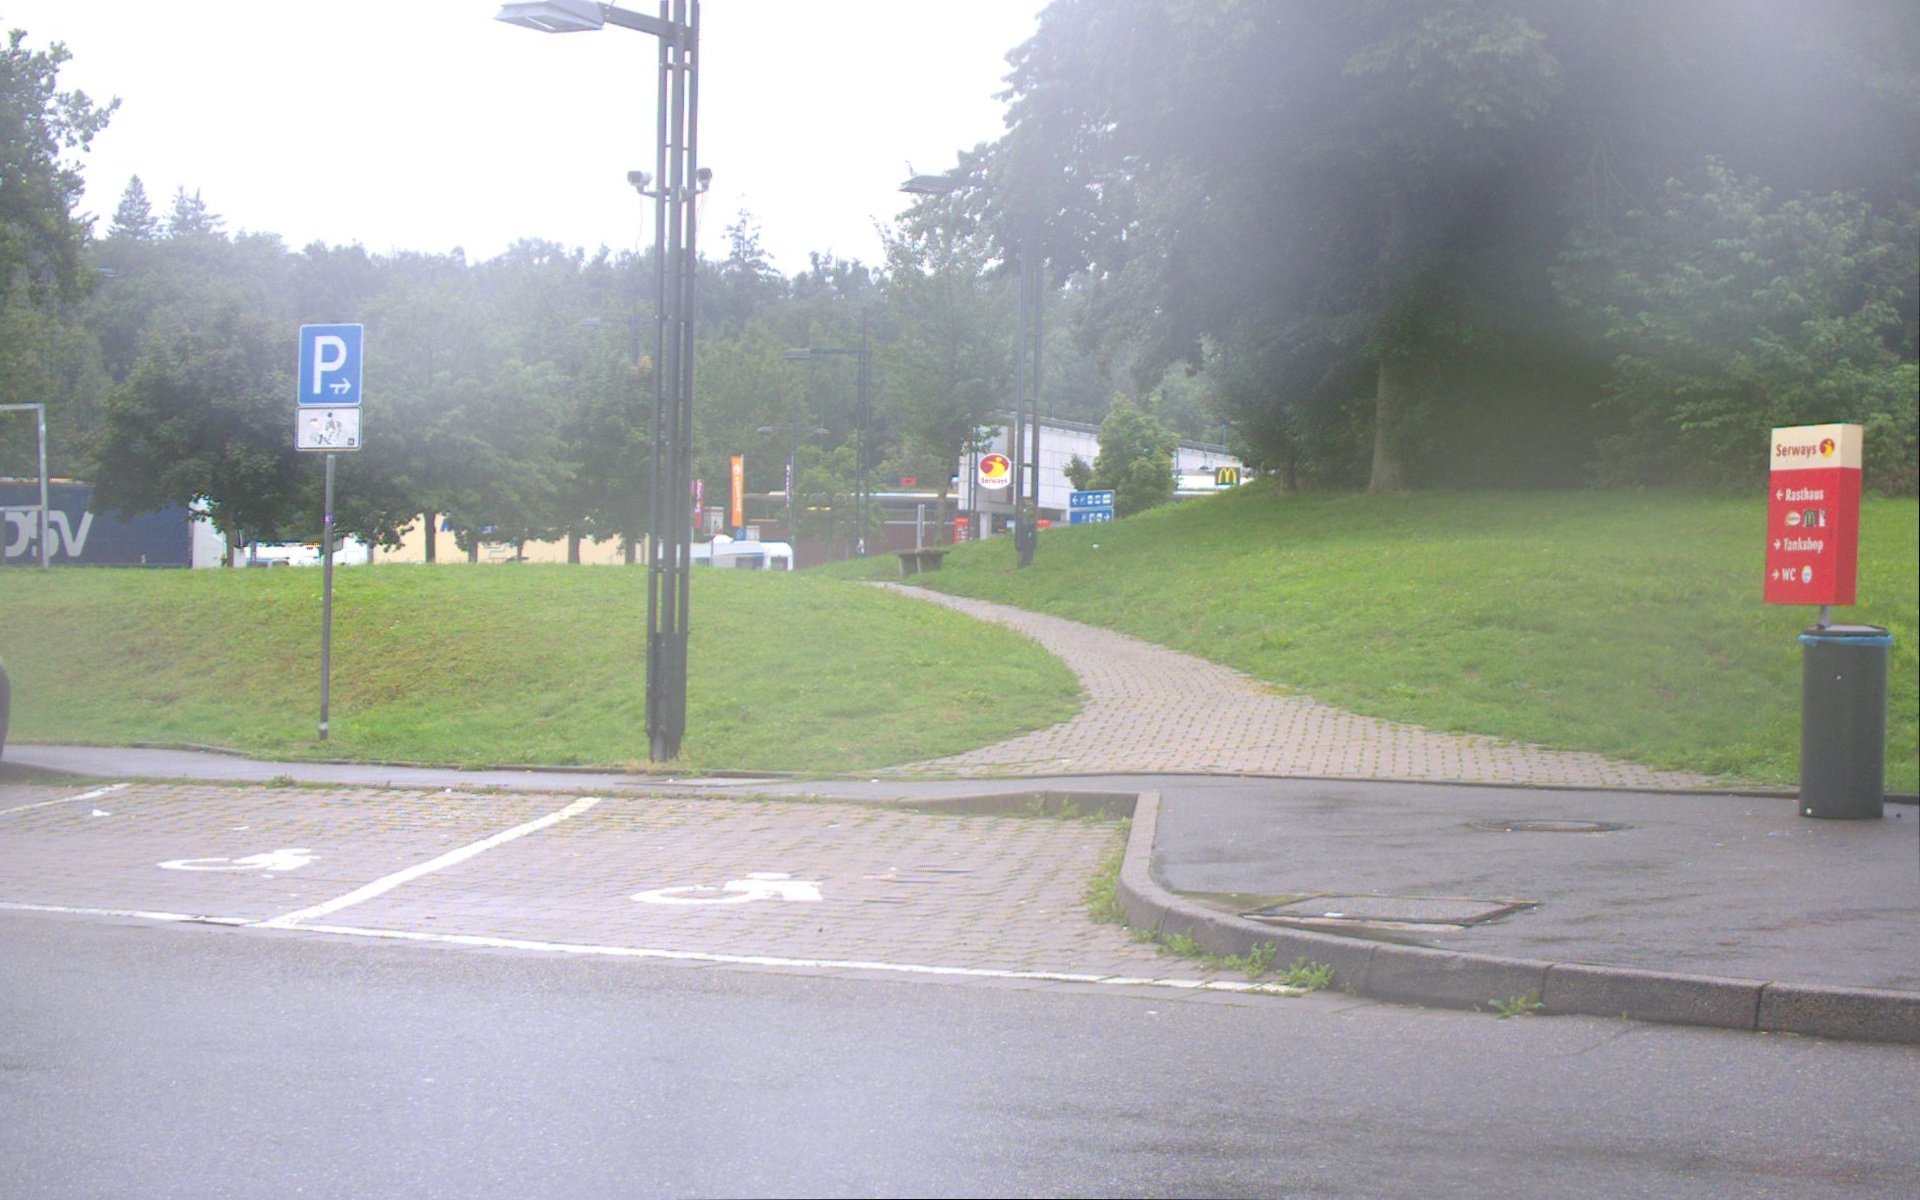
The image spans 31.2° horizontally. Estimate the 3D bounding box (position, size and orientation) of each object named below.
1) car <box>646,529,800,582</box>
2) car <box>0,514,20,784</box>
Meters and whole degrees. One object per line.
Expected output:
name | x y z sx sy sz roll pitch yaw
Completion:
car | -9.228 -1.737 133.769 5.429 2.007 2.453 1 1 20
car | -7.765 0.369 21.451 1.885 1.821 4.411 0 1 11
